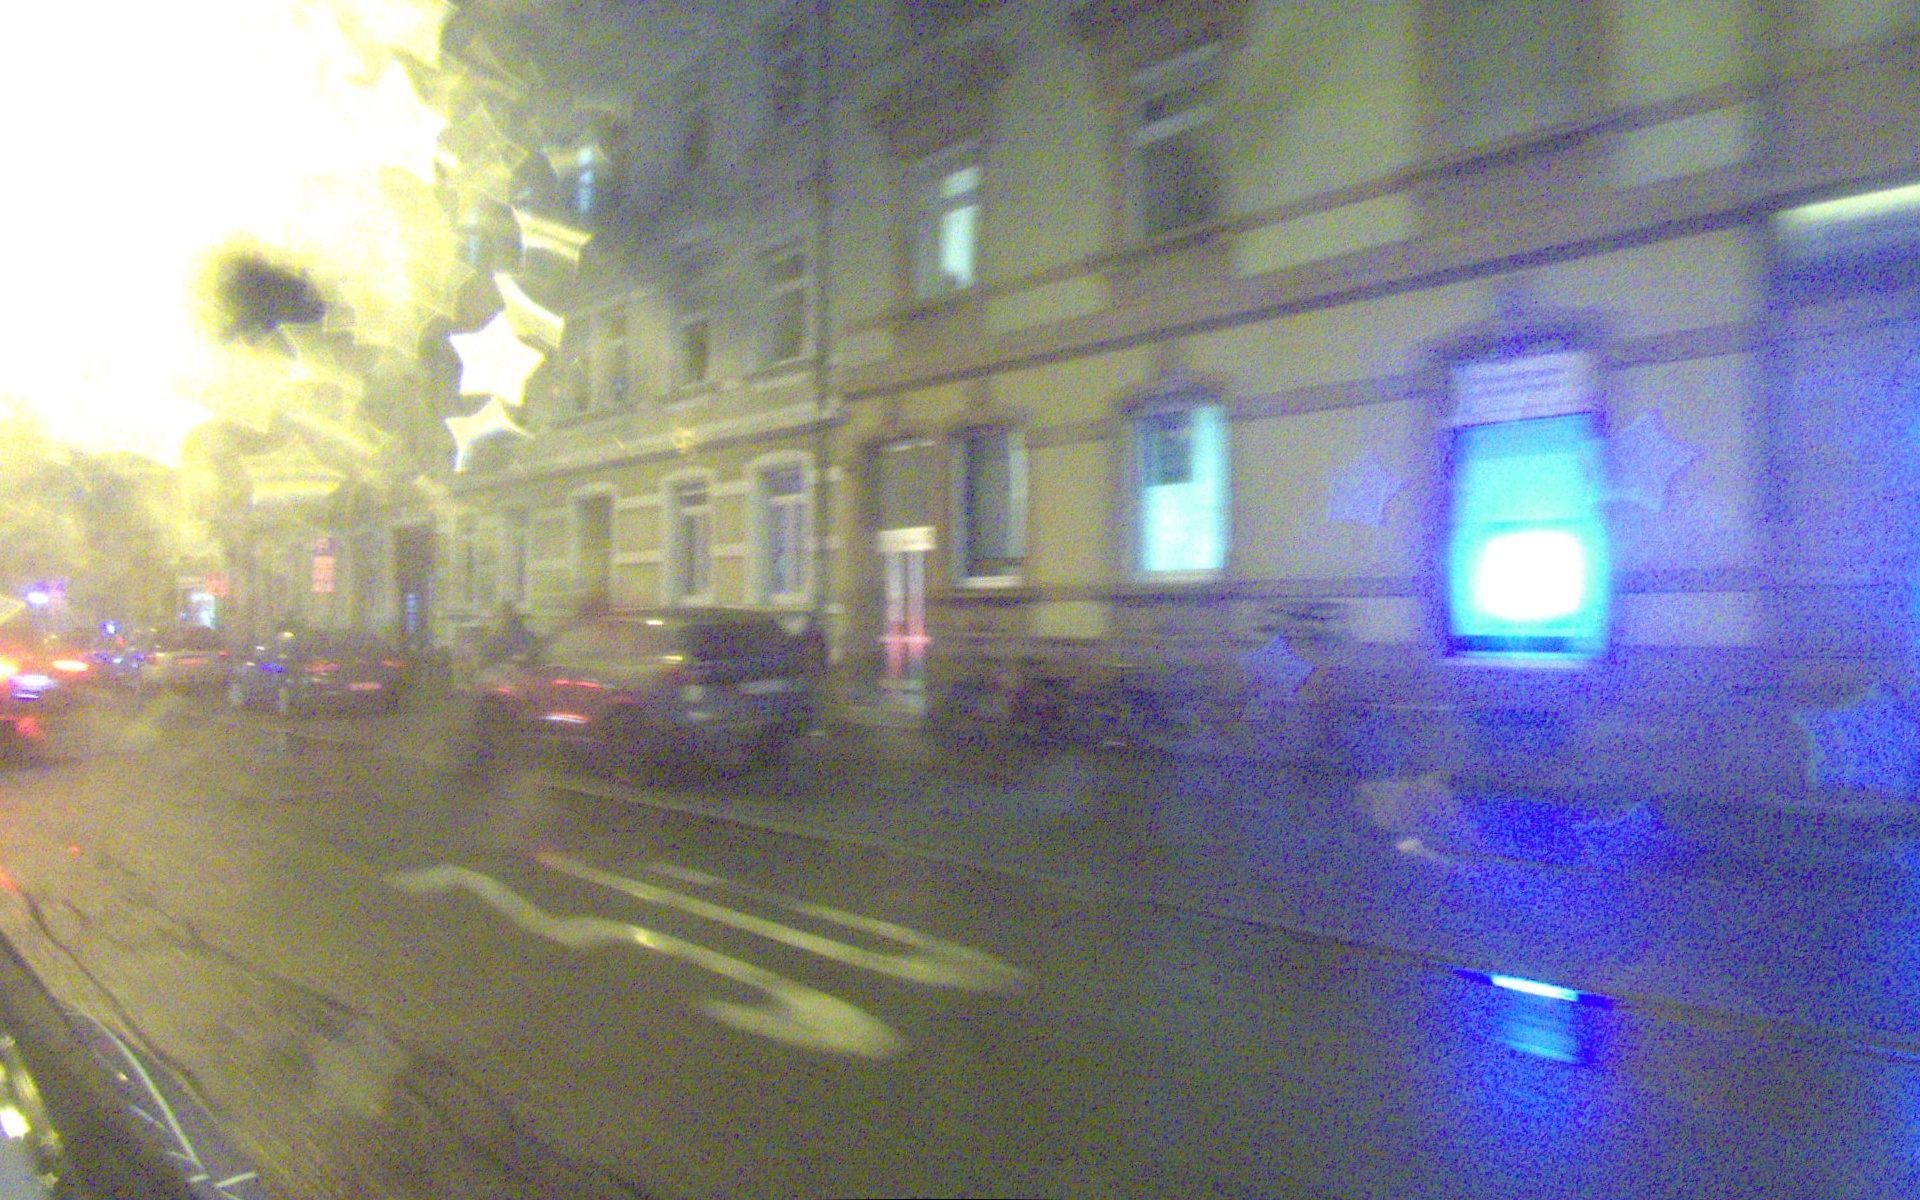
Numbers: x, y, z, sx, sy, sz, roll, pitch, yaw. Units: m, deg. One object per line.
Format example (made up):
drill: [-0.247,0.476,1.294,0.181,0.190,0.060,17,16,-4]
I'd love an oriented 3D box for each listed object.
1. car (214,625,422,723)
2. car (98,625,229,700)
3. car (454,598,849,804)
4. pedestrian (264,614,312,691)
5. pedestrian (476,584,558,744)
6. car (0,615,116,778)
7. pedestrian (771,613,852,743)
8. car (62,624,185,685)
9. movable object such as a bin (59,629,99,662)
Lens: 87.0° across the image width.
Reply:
car: [-11.368,1.198,17.793,4.591,1.497,1.814,-1,-1,40]
car: [-18.838,1.413,23.896,3.763,1.600,1.727,-1,-1,40]
car: [-3.419,0.896,10.693,4.591,1.730,1.814,-1,-1,40]
pedestrian: [-16.528,1.267,24.900,0.987,1.818,0.735,-1,1,44]
pedestrian: [-5.743,0.796,13.120,0.758,1.988,0.659,-2,1,-43]
car: [-11.953,0.971,10.526,4.502,1.630,1.930,1,-3,-8]
pedestrian: [-1.876,0.959,12.812,0.758,1.564,0.652,-1,1,26]
car: [-22.380,1.407,27.032,4.303,1.492,1.814,-1,-1,40]
movable object such as a bin: [-39.377,2.026,45.243,1.377,1.465,1.090,-1,-2,38]
